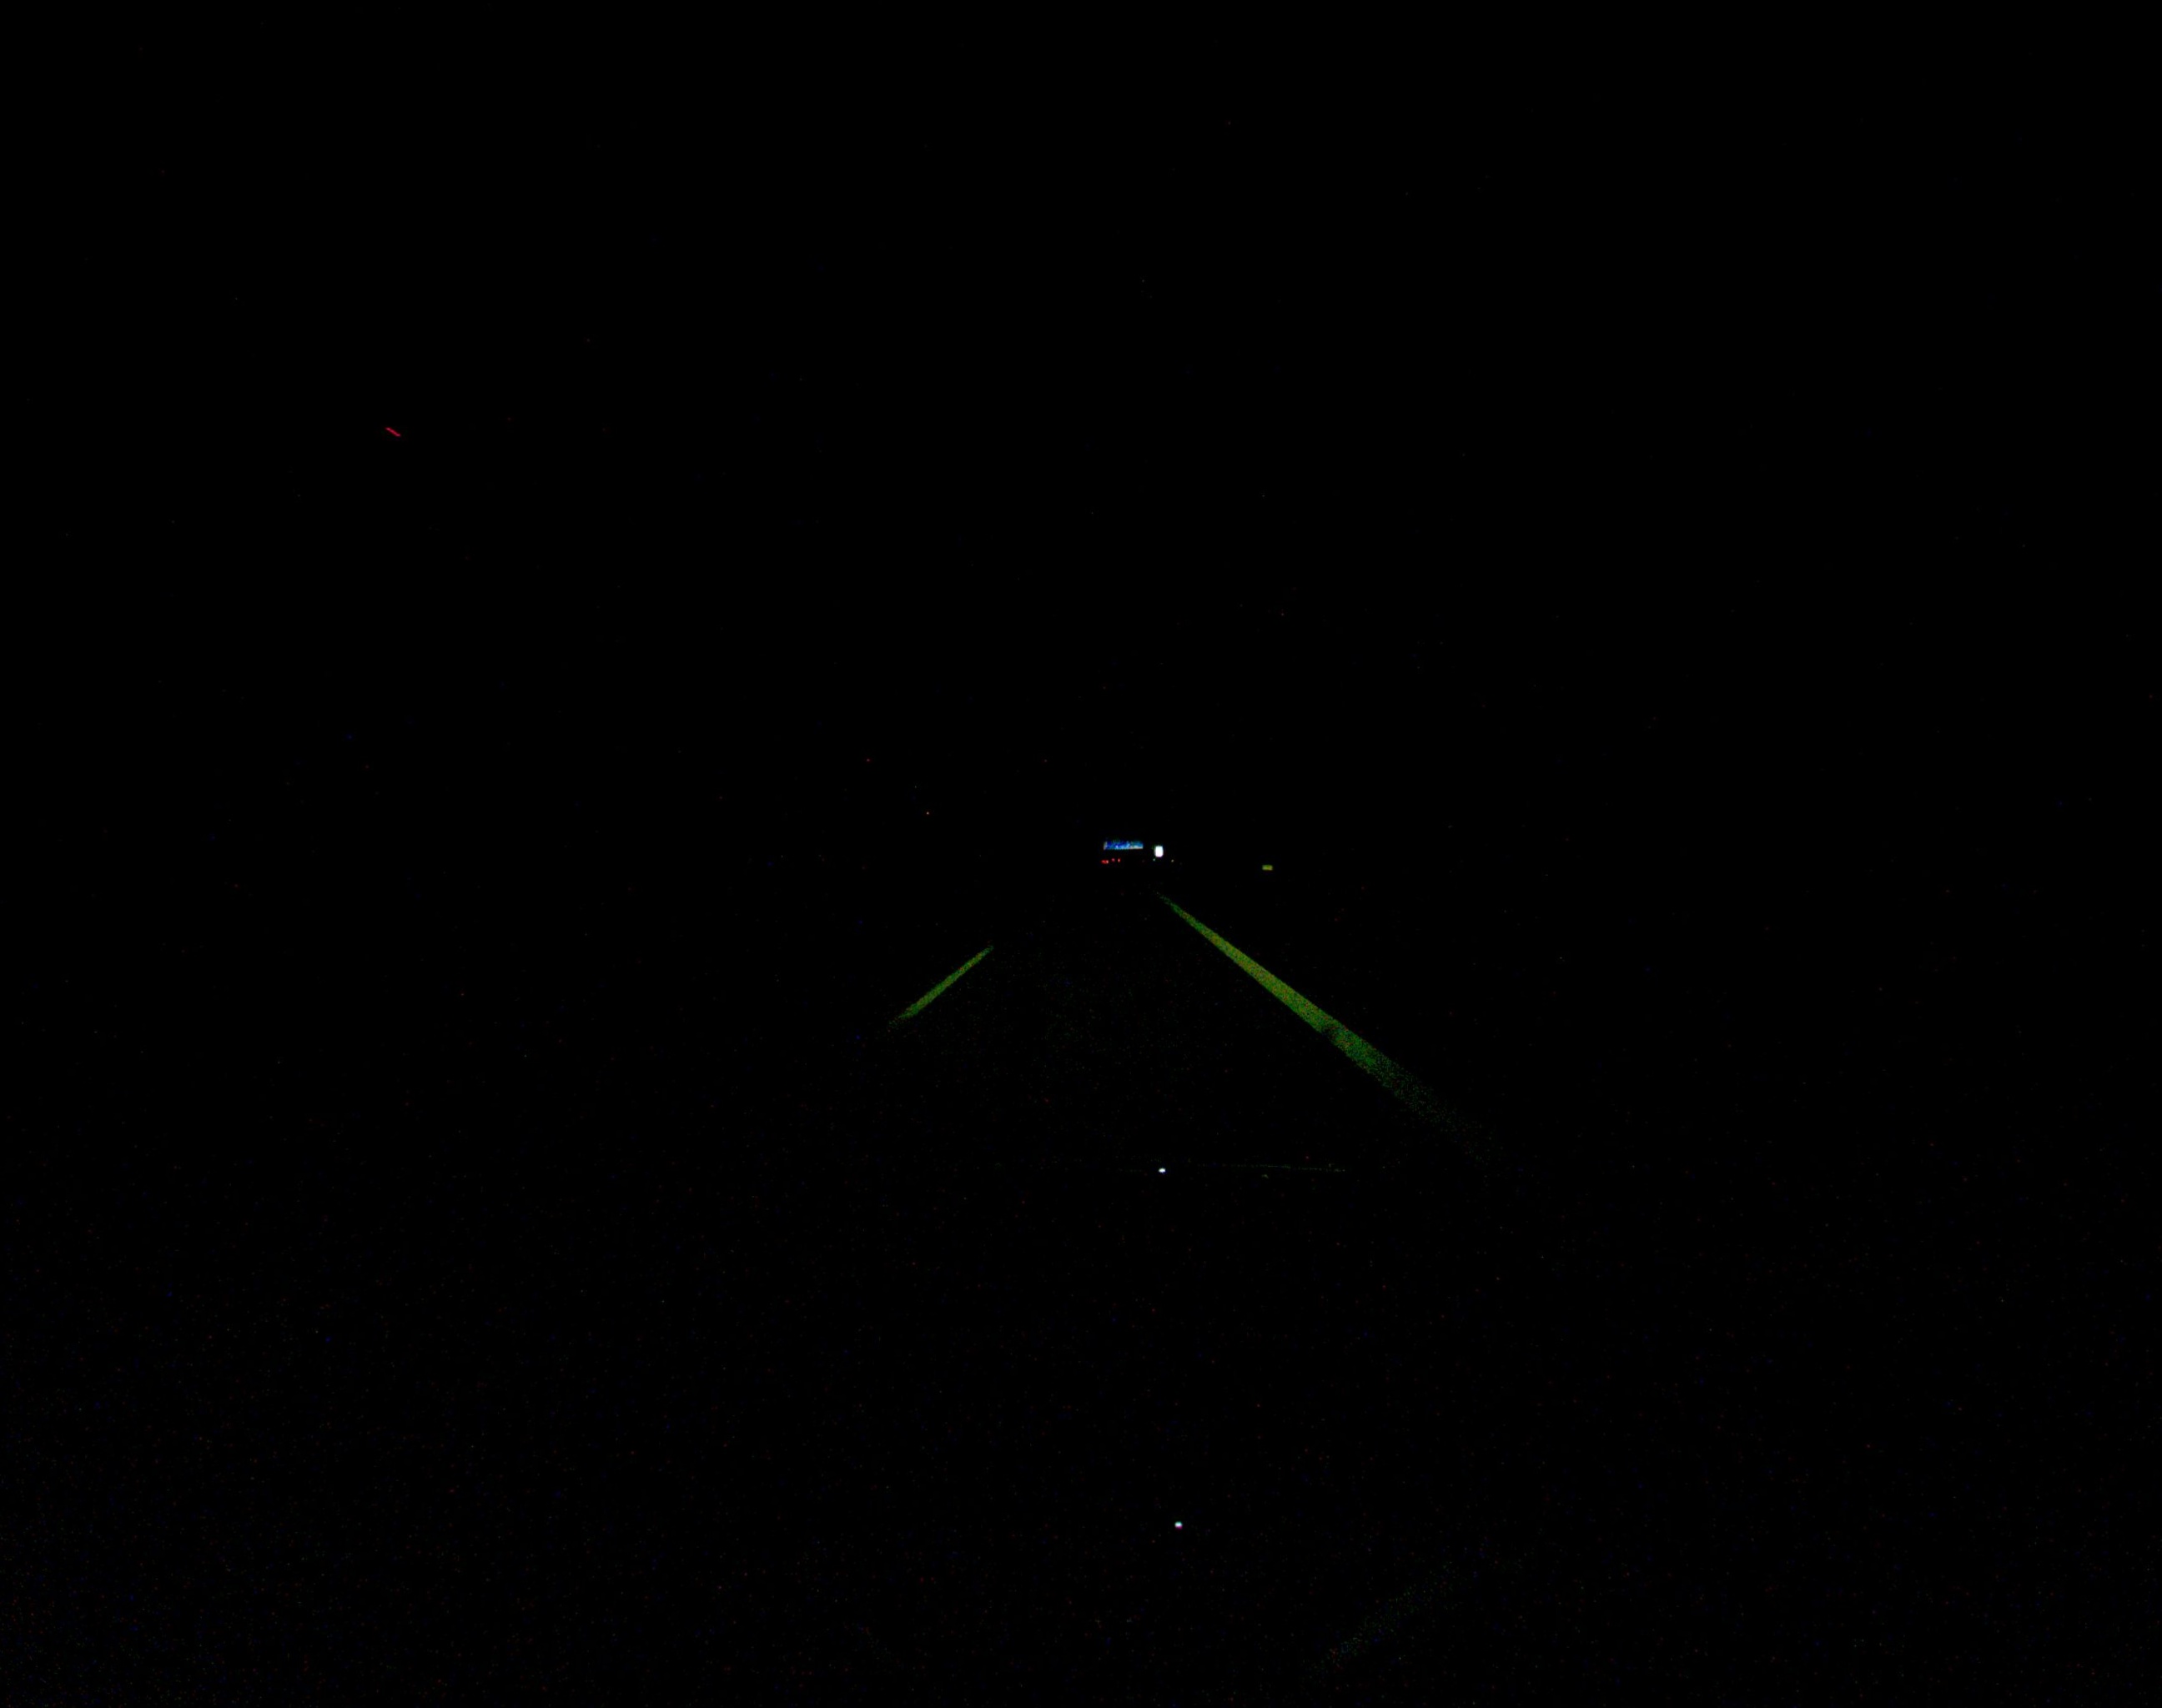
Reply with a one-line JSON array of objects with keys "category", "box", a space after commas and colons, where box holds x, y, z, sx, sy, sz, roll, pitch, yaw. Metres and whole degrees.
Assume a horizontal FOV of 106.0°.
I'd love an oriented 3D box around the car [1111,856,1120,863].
[{"category": "car", "box": [10.874, 1.760, 254.480, 2.497, 2.314, 4.980, -1, -1, 7]}]
